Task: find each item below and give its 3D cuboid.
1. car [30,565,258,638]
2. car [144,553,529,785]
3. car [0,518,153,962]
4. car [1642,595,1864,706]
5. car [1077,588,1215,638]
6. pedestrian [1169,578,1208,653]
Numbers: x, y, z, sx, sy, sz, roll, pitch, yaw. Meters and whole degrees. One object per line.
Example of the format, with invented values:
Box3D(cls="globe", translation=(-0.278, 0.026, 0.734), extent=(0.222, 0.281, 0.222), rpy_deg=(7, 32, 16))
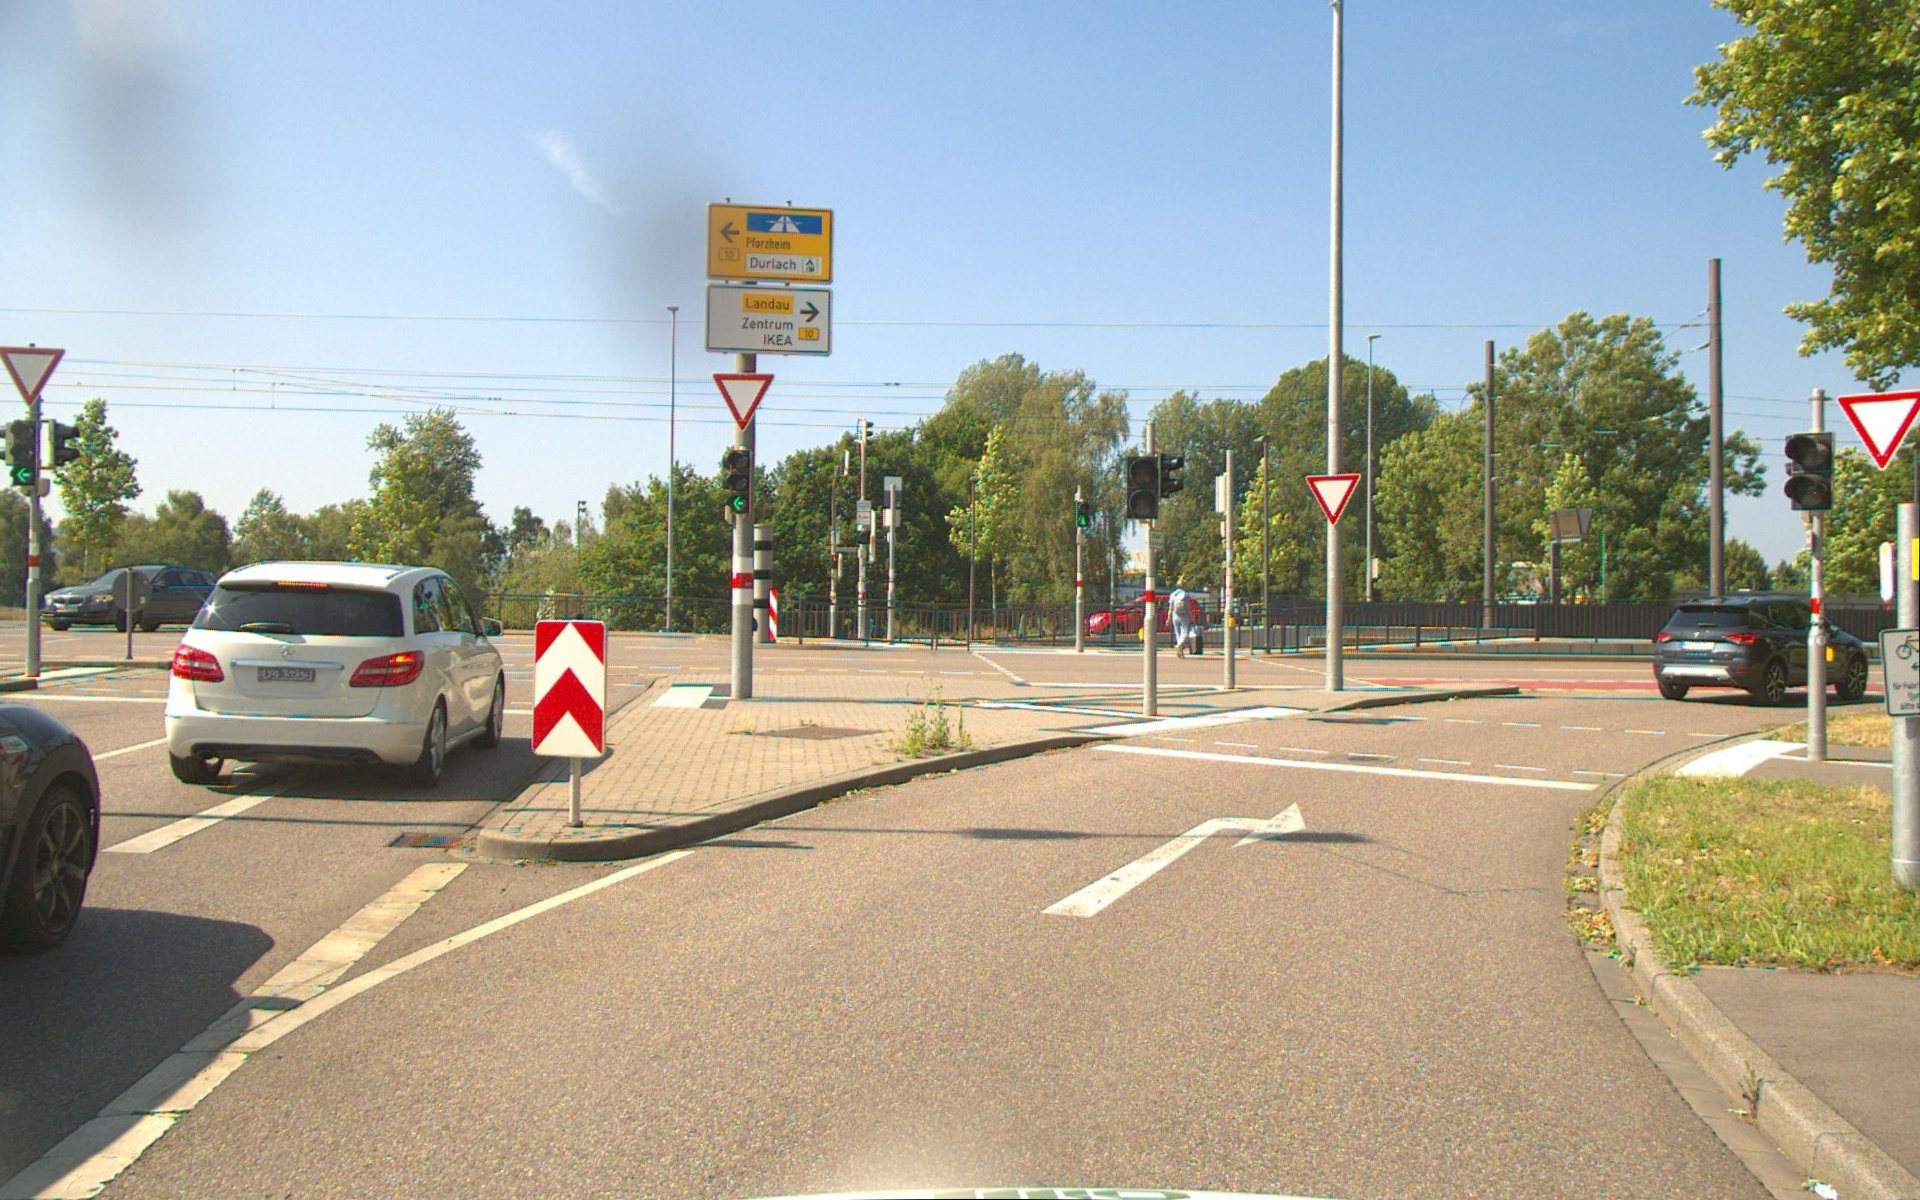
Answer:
Box3D(cls="car", translation=(-18.366, 0.016, 37.510), extent=(2.015, 1.529, 4.818), rpy_deg=(1, 0, 14))
Box3D(cls="car", translation=(-4.597, 0.444, 12.898), extent=(1.708, 1.473, 4.383), rpy_deg=(1, 0, -6))
Box3D(cls="car", translation=(-4.095, 0.487, 4.901), extent=(1.704, 1.538, 4.195), rpy_deg=(0, 0, -6))
Box3D(cls="car", translation=(11.982, 0.745, 24.940), extent=(3.339, 1.550, 1.654), rpy_deg=(2, 0, -37))
Box3D(cls="car", translation=(5.683, 0.381, 50.811), extent=(3.912, 1.470, 1.743), rpy_deg=(1, 0, -9))
Box3D(cls="pedestrian", translation=(4.742, 0.307, 34.380), extent=(0.756, 1.537, 1.008), rpy_deg=(0, 1, 5))
